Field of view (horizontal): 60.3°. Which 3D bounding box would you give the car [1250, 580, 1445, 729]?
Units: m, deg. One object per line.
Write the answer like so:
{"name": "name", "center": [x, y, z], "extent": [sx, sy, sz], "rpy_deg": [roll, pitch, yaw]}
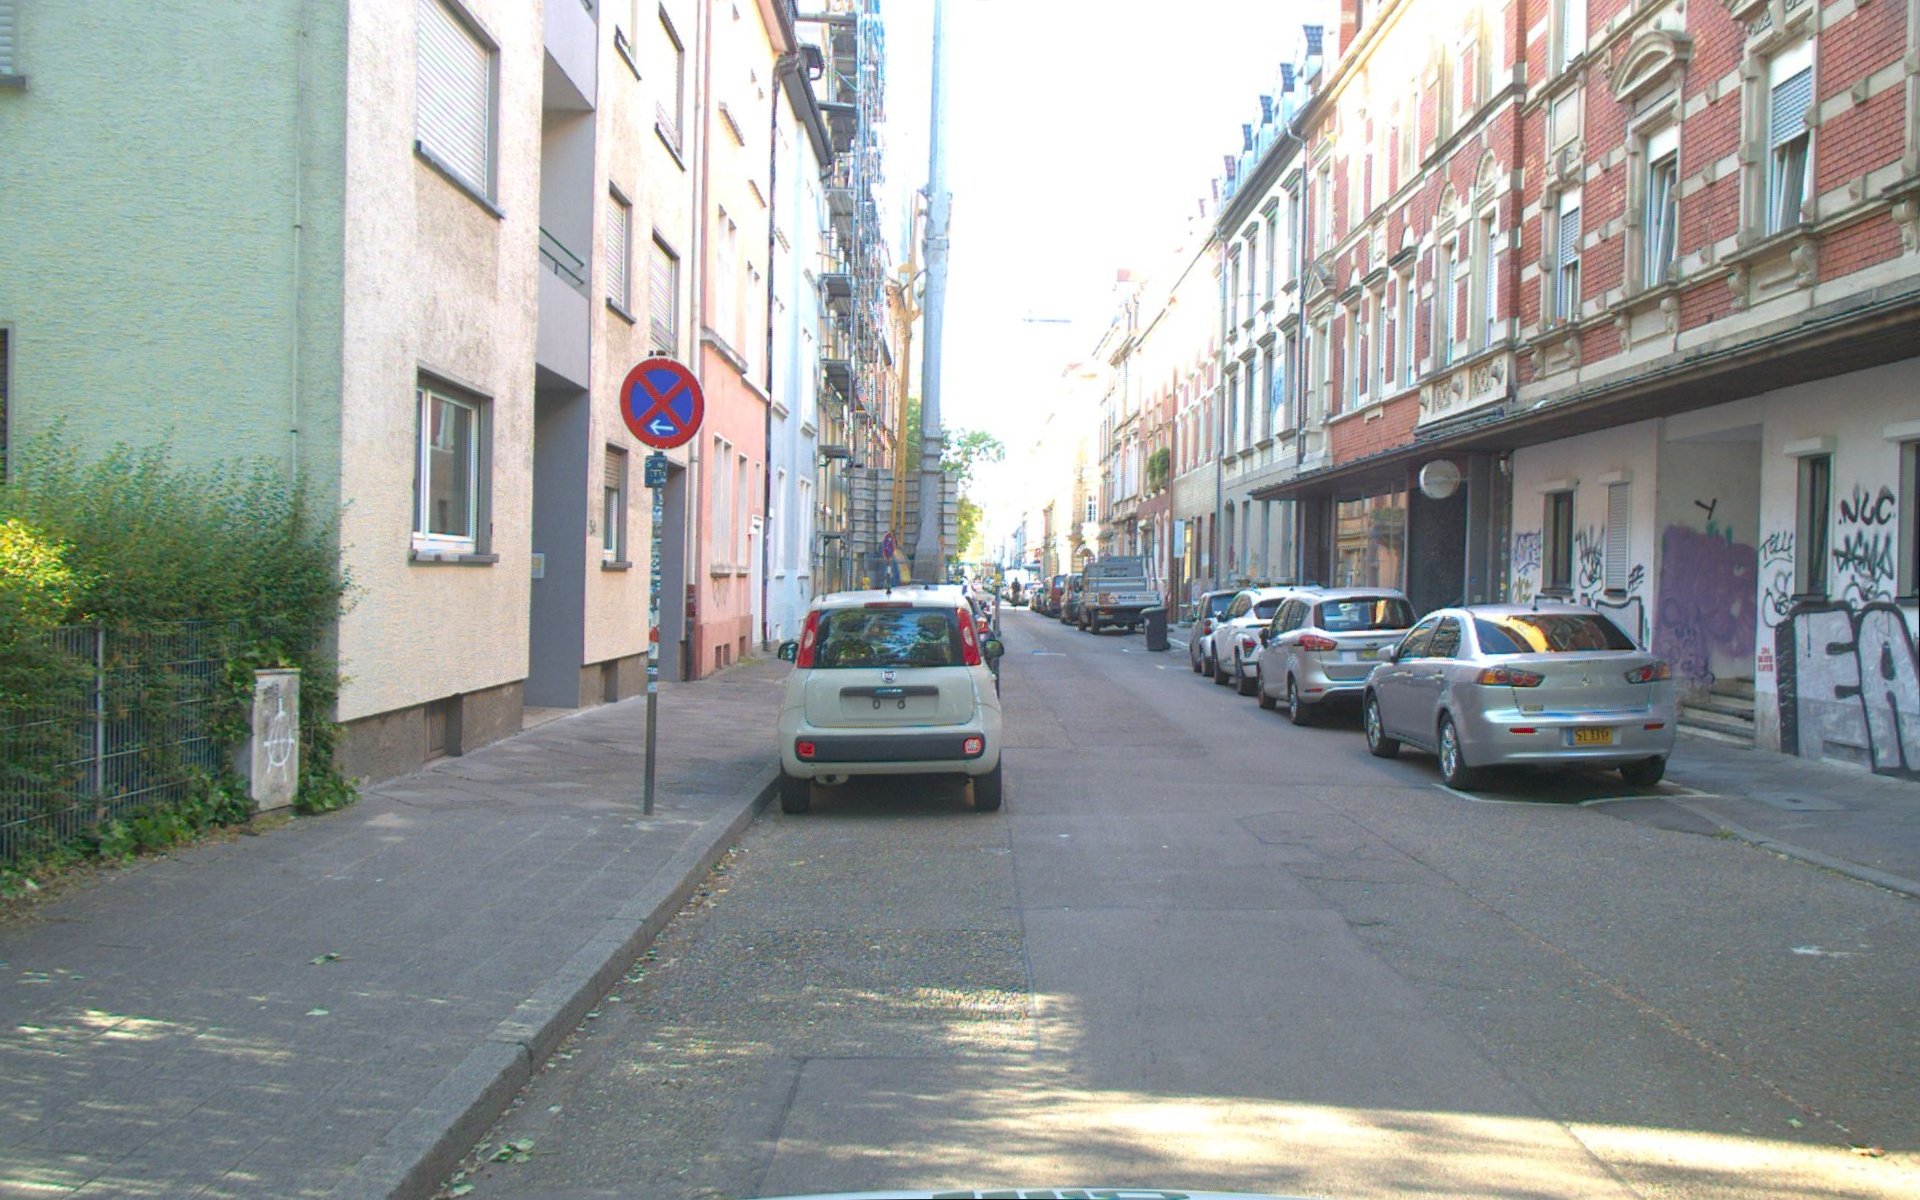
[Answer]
{"name": "car", "center": [4.802, 0.614, 20.995], "extent": [1.606, 1.685, 3.870], "rpy_deg": [1, 0, 1]}

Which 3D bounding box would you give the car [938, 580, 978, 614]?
{"name": "car", "center": [-0.102, -0.142, 74.844], "extent": [1.641, 1.470, 3.868], "rpy_deg": [1, 0, -2]}

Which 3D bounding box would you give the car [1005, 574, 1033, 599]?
{"name": "car", "center": [4.553, -1.052, 128.760], "extent": [1.953, 1.881, 3.999], "rpy_deg": [0, 1, -1]}

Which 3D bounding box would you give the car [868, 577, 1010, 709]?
{"name": "car", "center": [-0.331, 0.497, 22.124], "extent": [1.694, 1.566, 4.376], "rpy_deg": [0, 0, -2]}

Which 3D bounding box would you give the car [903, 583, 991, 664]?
{"name": "car", "center": [-0.249, 0.423, 33.532], "extent": [1.640, 1.503, 4.608], "rpy_deg": [1, 0, 0]}

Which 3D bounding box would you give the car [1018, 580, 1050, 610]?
{"name": "car", "center": [5.126, -0.369, 114.808], "extent": [1.953, 2.049, 3.999], "rpy_deg": [1, 1, -1]}

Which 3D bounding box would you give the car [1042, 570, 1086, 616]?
{"name": "car", "center": [4.830, -0.332, 76.883], "extent": [1.641, 2.066, 3.868], "rpy_deg": [1, 0, -2]}

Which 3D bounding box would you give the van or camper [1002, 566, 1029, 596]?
{"name": "van or camper", "center": [4.820, -1.633, 143.419], "extent": [1.954, 2.552, 4.199], "rpy_deg": [0, 1, -4]}

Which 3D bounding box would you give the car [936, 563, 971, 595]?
{"name": "car", "center": [-0.354, -1.076, 85.299], "extent": [1.641, 1.598, 3.868], "rpy_deg": [1, 0, -2]}

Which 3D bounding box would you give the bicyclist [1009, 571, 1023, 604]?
{"name": "bicyclist", "center": [3.040, -0.692, 89.851], "extent": [0.715, 1.792, 0.835], "rpy_deg": [2, 1, 0]}

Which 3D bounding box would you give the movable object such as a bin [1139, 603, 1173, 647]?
{"name": "movable object such as a bin", "center": [4.931, 0.614, 41.630], "extent": [0.779, 1.074, 0.660], "rpy_deg": [1, 1, 0]}

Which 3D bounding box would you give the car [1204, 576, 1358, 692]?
{"name": "car", "center": [5.088, 0.489, 26.713], "extent": [1.710, 1.705, 4.341], "rpy_deg": [1, 0, 1]}

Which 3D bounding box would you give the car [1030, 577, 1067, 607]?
{"name": "car", "center": [4.815, -0.425, 90.369], "extent": [1.641, 1.598, 3.868], "rpy_deg": [1, 0, -2]}

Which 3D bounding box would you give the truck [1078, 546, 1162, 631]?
{"name": "truck", "center": [5.142, -0.396, 53.884], "extent": [2.145, 2.652, 5.233], "rpy_deg": [0, 1, -1]}

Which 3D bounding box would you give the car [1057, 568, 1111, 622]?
{"name": "car", "center": [4.805, -0.201, 64.388], "extent": [1.641, 1.997, 4.107], "rpy_deg": [1, 0, -2]}

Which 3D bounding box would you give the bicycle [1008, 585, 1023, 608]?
{"name": "bicycle", "center": [3.026, -0.200, 89.826], "extent": [0.710, 1.207, 2.043], "rpy_deg": [2, 1, 0]}

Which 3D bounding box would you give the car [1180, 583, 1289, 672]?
{"name": "car", "center": [5.230, 0.473, 31.864], "extent": [1.563, 1.587, 3.815], "rpy_deg": [1, 1, 2]}

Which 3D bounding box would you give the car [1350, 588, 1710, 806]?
{"name": "car", "center": [4.882, 0.728, 14.860], "extent": [1.686, 1.589, 4.398], "rpy_deg": [1, 1, 0]}

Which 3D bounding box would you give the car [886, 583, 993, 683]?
{"name": "car", "center": [-0.317, 0.492, 27.803], "extent": [1.640, 1.538, 4.414], "rpy_deg": [1, 0, 0]}

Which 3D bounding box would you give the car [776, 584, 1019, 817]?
{"name": "car", "center": [-0.491, 0.660, 13.118], "extent": [1.641, 1.566, 3.868], "rpy_deg": [0, 0, -2]}
